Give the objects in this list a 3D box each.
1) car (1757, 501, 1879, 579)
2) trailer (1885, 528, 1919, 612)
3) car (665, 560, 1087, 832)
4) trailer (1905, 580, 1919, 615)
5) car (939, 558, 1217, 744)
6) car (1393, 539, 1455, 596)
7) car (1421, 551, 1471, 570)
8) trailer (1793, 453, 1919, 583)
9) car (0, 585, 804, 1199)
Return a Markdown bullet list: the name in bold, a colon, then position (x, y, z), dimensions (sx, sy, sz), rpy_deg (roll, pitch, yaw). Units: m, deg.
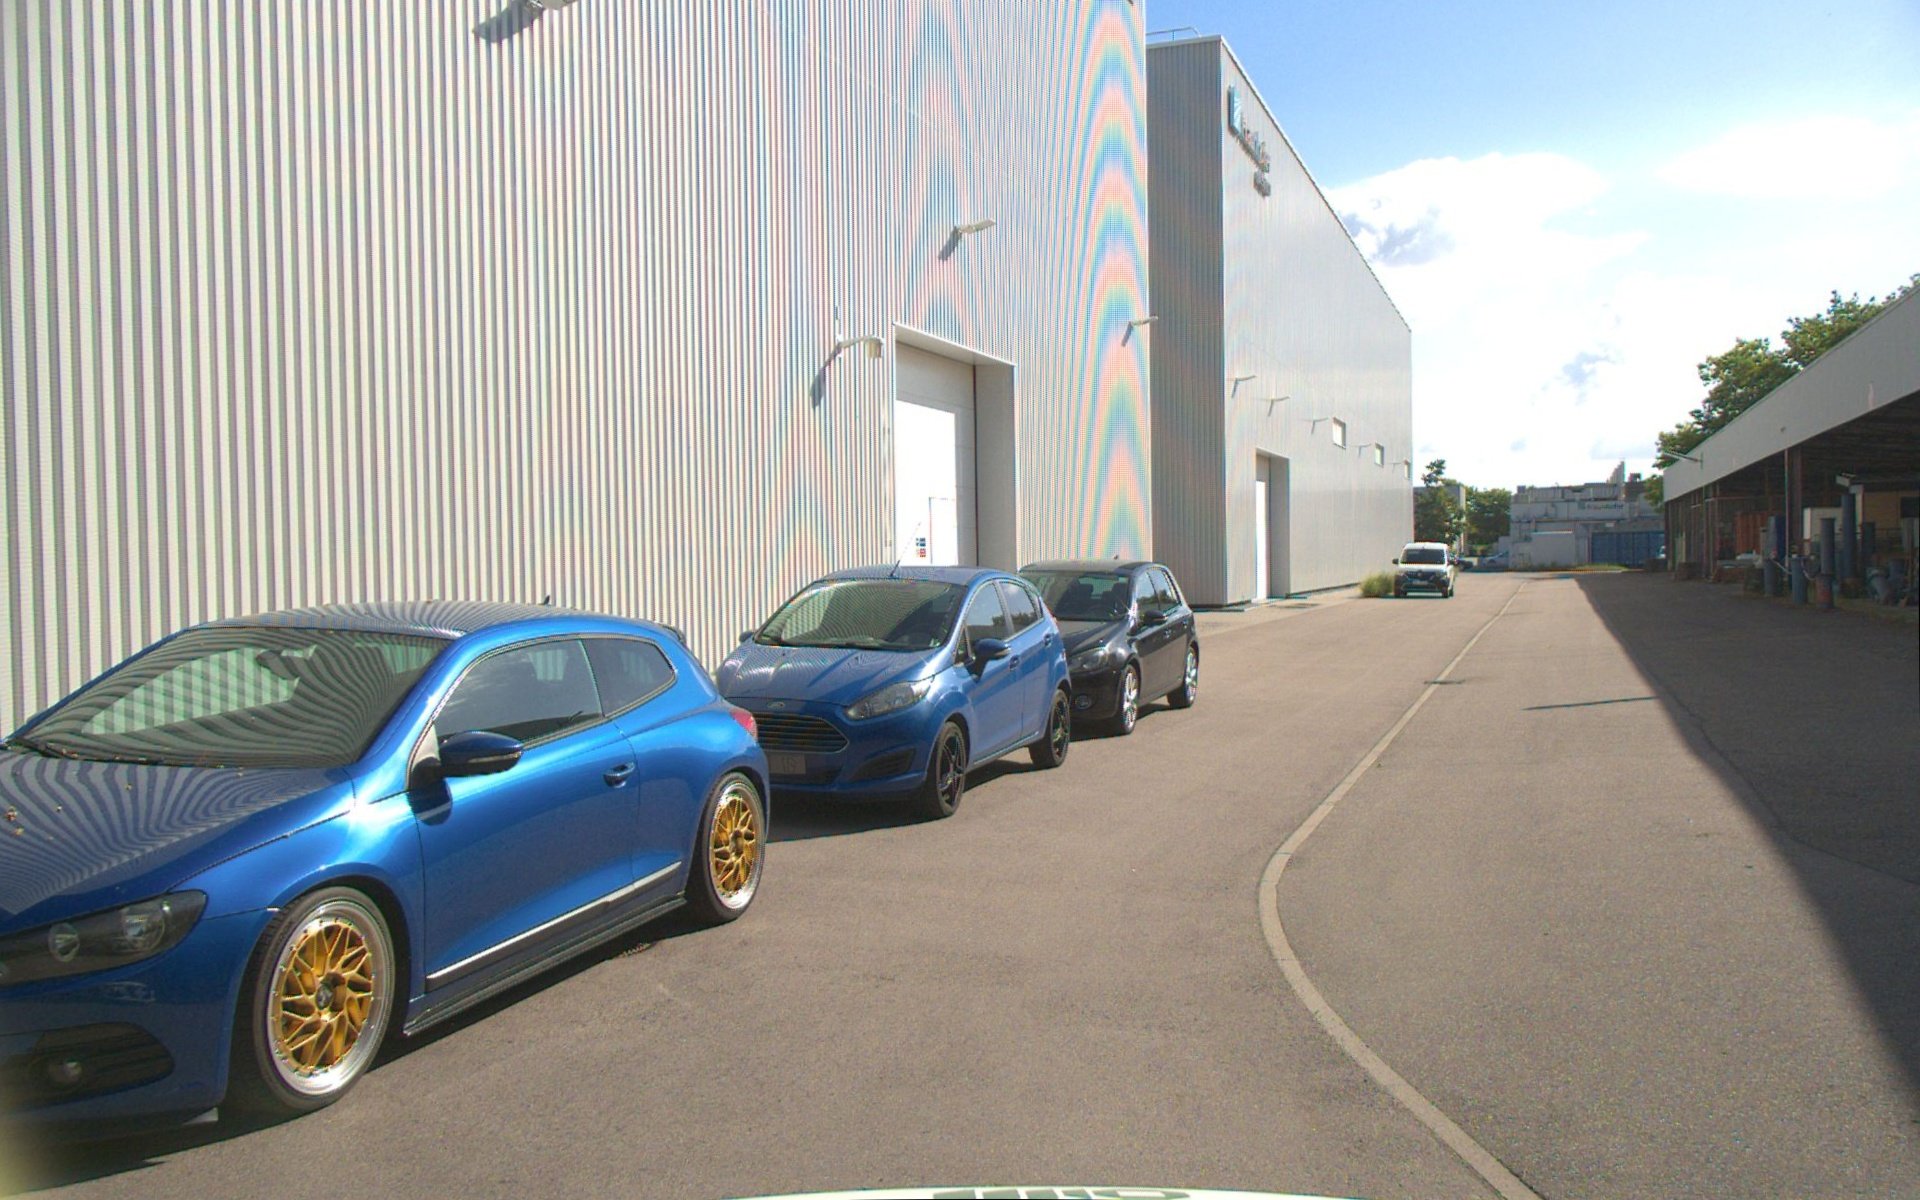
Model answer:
- **car**: position (29.375, -2.055, 56.746), dimensions (3.432, 2.484, 2.001), rpy_deg (-2, 1, 21)
- **trailer**: position (18.895, -0.586, 31.778), dimensions (1.512, 1.545, 1.915), rpy_deg (1, 3, 15)
- **car**: position (-0.365, 0.481, 11.143), dimensions (1.585, 1.472, 3.767), rpy_deg (0, 2, 18)
- **trailer**: position (17.201, -0.043, 28.979), dimensions (0.950, 0.577, 0.733), rpy_deg (1, 3, 16)
- **car**: position (1.253, 0.371, 15.791), dimensions (1.616, 1.471, 3.879), rpy_deg (2, 2, 20)
- **car**: position (15.776, -1.105, 56.133), dimensions (1.868, 1.825, 4.002), rpy_deg (-1, 1, 18)
- **car**: position (39.670, -3.214, 134.982), dimensions (3.804, 1.487, 1.624), rpy_deg (-1, 1, 19)
- **trailer**: position (26.804, -2.316, 45.803), dimensions (6.255, 3.429, 2.826), rpy_deg (-2, 1, 19)
- **car**: position (-2.118, 0.686, 5.909), dimensions (1.633, 1.373, 3.956), rpy_deg (1, 2, 19)
